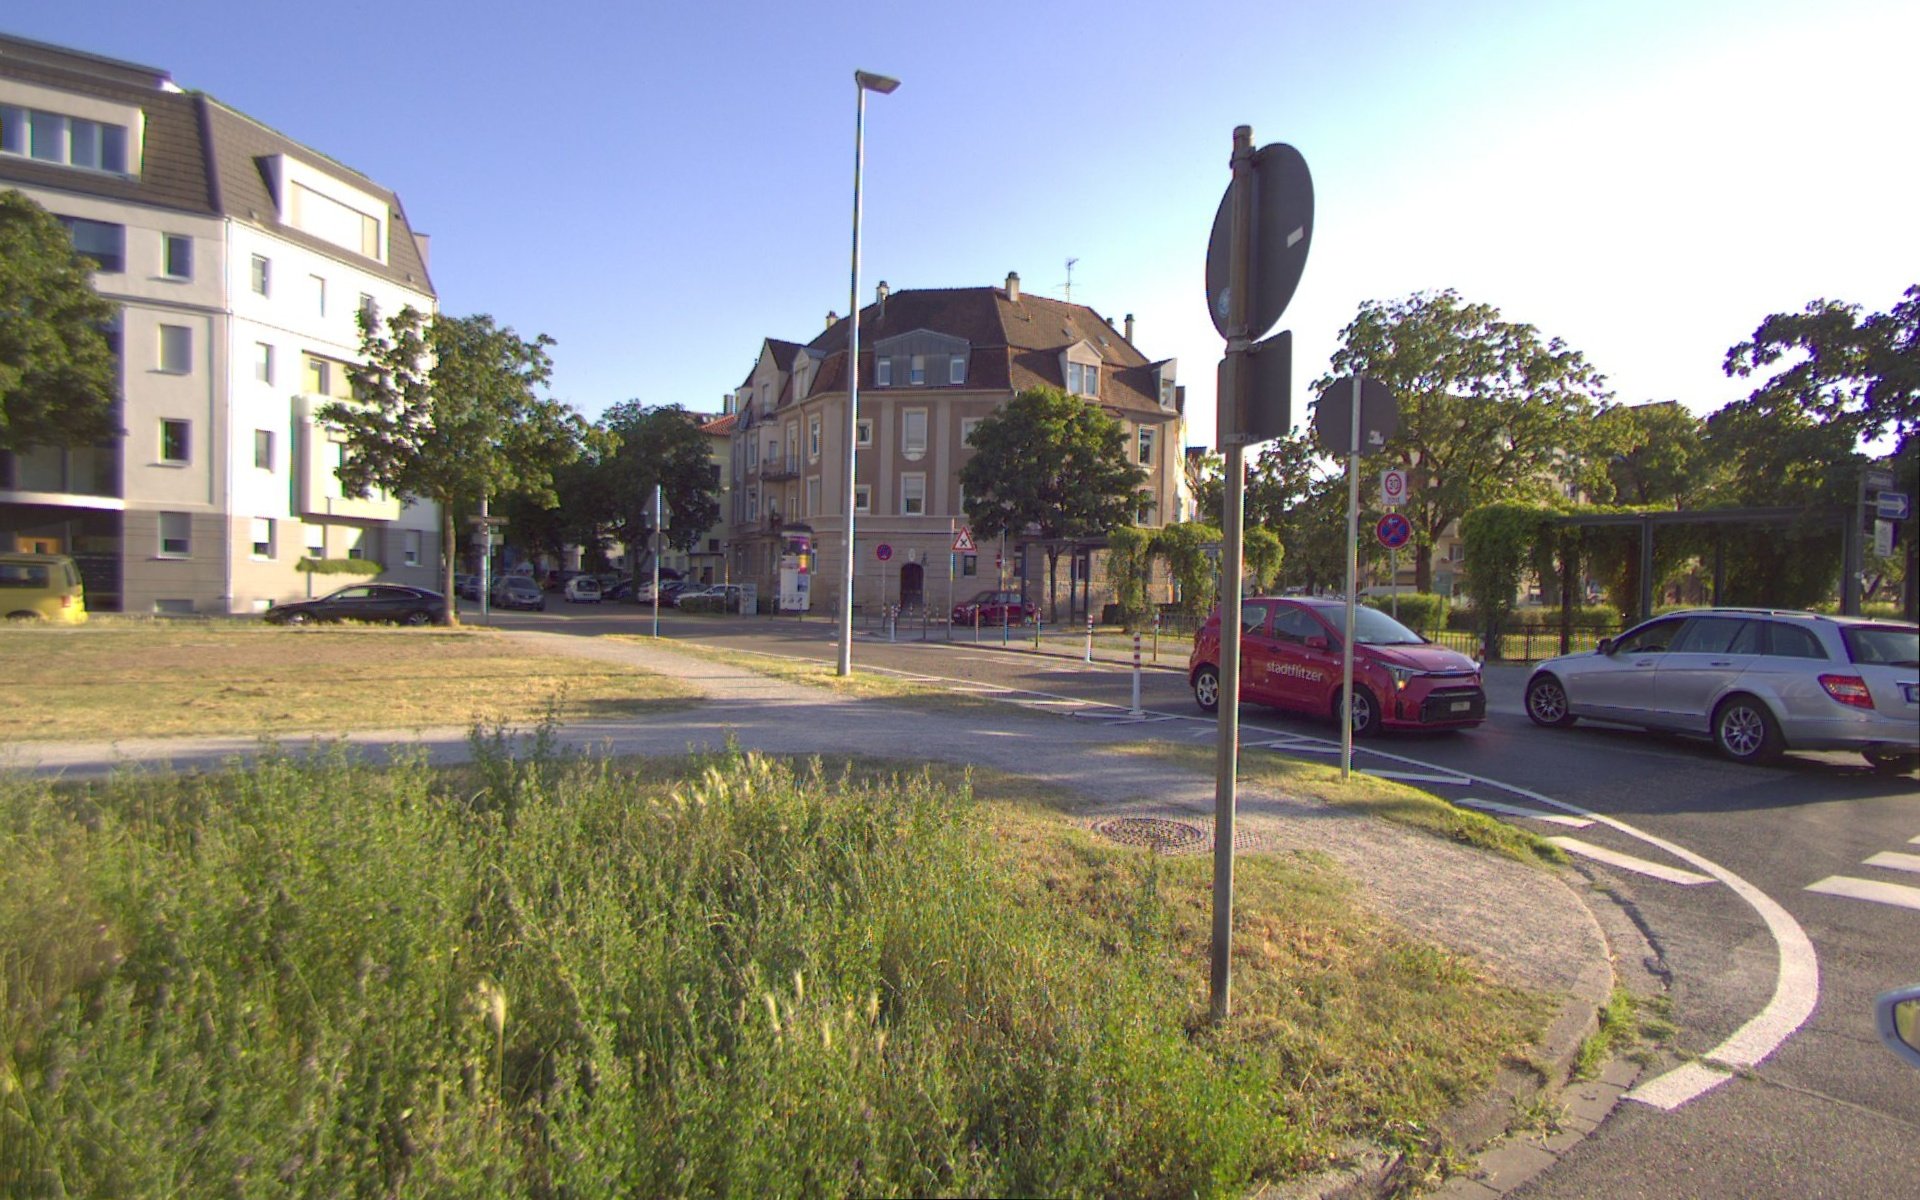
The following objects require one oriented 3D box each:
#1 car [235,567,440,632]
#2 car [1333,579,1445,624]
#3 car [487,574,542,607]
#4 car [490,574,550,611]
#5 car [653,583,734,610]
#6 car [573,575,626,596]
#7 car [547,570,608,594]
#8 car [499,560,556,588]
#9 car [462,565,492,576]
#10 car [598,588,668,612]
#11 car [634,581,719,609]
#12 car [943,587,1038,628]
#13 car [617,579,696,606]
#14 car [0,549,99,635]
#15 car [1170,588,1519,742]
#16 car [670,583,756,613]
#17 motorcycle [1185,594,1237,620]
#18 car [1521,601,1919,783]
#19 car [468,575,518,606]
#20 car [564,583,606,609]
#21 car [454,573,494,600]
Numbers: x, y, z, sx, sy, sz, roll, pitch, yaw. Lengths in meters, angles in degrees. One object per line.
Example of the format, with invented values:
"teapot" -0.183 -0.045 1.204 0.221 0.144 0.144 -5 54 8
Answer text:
"car" -17.483 0.013 28.471 4.784 1.691 1.773 1 0 -31
"car" 28.514 0.064 66.827 6.569 2.781 2.313 2 1 30
"car" -22.911 -0.501 51.572 1.871 1.612 4.051 1 1 -34
"car" -20.748 -0.385 47.282 1.871 1.612 4.051 1 1 -34
"car" -14.988 -0.217 56.604 4.111 1.467 1.658 0 2 -33
"car" -28.300 -1.117 78.859 3.702 1.579 1.709 0 1 -33
"car" -32.765 -1.502 86.148 4.590 1.861 1.936 2 1 -32
"car" -48.405 -2.910 112.507 5.503 3.008 2.448 1 1 -34
"car" -71.315 -4.312 148.329 3.813 1.502 1.790 1 1 -31
"car" -22.041 -0.002 67.697 4.159 1.579 1.857 1 1 -33
"car" -16.618 -0.335 58.979 4.450 1.546 1.933 -1 3 -38
"car" 1.450 0.350 46.732 4.040 1.764 1.797 1 3 -31
"car" -19.212 -0.474 63.669 4.492 1.663 1.857 1 1 -33
"car" -24.056 -0.220 24.259 4.643 2.040 2.015 1 0 -33
"car" 4.444 0.671 12.171 1.748 1.546 3.746 1 -1 -28
"car" -12.922 -0.097 52.540 4.018 1.525 1.845 1 1 -33
"motorcycle" 15.542 0.416 62.230 0.847 1.507 3.190 2 -1 -43
"car" 8.034 0.785 10.487 1.788 1.492 4.214 1 0 -4
"car" -25.684 -0.533 55.216 1.871 1.612 4.051 1 1 -34
"car" -22.916 -0.240 61.243 1.801 1.492 4.184 1 0 -29
"car" -28.805 -0.792 59.503 1.744 1.467 4.107 2 0 -31
